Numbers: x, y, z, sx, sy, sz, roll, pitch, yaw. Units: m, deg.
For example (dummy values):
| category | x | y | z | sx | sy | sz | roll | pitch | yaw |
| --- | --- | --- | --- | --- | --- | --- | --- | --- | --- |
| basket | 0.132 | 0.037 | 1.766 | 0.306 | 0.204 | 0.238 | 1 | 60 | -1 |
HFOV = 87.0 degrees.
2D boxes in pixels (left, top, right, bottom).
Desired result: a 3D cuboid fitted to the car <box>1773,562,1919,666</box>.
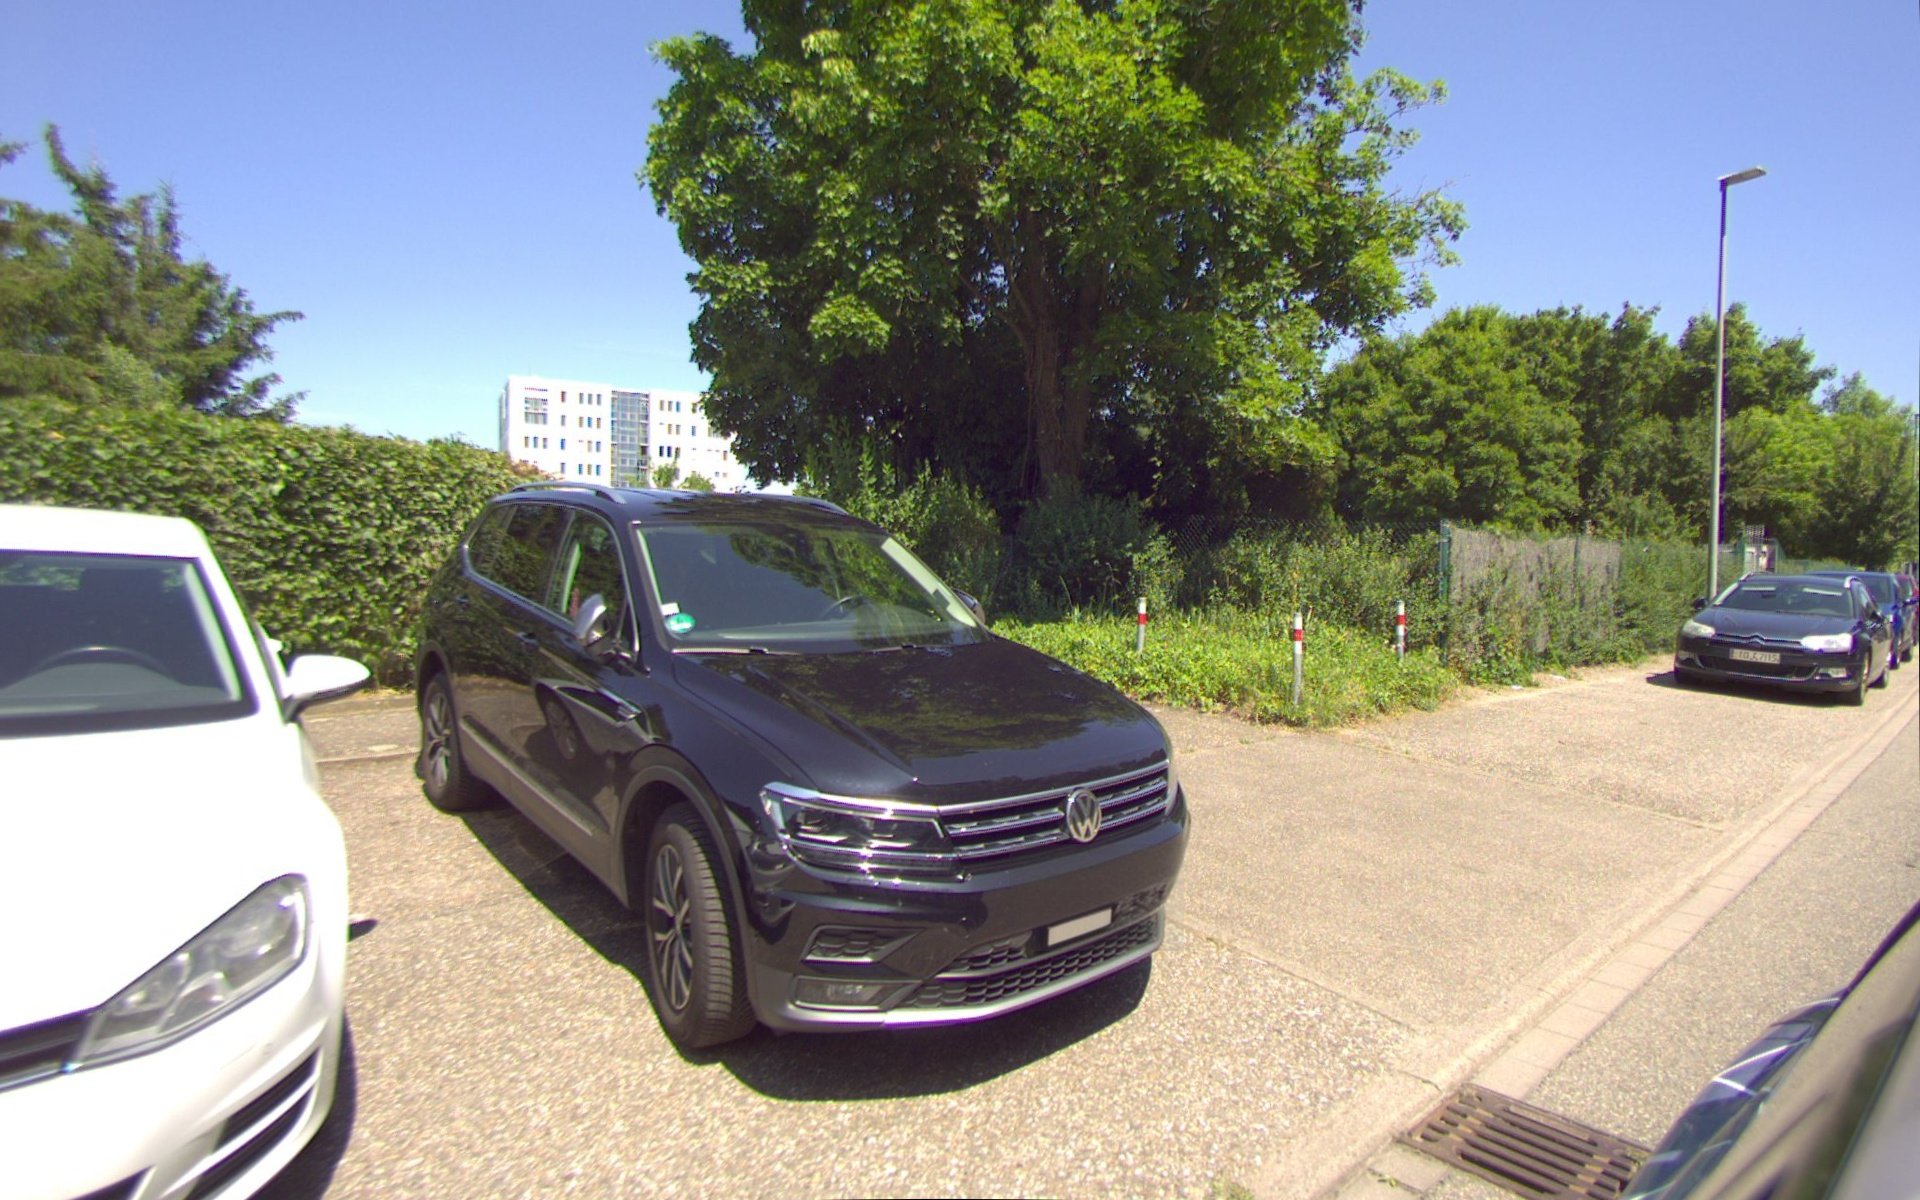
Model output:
| category | x | y | z | sx | sy | sz | roll | pitch | yaw |
| --- | --- | --- | --- | --- | --- | --- | --- | --- | --- |
| car | 15.893 | 0.174 | 17.891 | 4.060 | 1.623 | 1.792 | -1 | 2 | -43 |

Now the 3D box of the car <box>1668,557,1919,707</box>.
| category | x | y | z | sx | sy | sz | roll | pitch | yaw |
| --- | --- | --- | --- | --- | --- | --- | --- | --- | --- |
| car | 10.916 | 0.284 | 13.110 | 4.586 | 1.499 | 1.793 | -1 | 7 | -42 |

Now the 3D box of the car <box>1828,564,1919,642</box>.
| category | x | y | z | sx | sy | sz | roll | pitch | yaw |
| --- | --- | --- | --- | --- | --- | --- | --- | --- | --- |
| car | 22.847 | 0.011 | 24.802 | 4.377 | 1.678 | 1.793 | -1 | 5 | -42 |

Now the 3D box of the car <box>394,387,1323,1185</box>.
| category | x | y | z | sx | sy | sz | roll | pitch | yaw |
| --- | --- | --- | --- | --- | --- | --- | --- | --- | --- |
| car | -0.983 | 0.210 | 4.484 | 1.880 | 1.724 | 4.482 | -1 | 5 | -40 |

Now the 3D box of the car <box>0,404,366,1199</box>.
| category | x | y | z | sx | sy | sz | roll | pitch | yaw |
| --- | --- | --- | --- | --- | --- | --- | --- | --- | --- |
| car | -2.924 | 0.314 | 2.911 | 1.797 | 1.469 | 4.012 | -1 | 4 | -35 |
